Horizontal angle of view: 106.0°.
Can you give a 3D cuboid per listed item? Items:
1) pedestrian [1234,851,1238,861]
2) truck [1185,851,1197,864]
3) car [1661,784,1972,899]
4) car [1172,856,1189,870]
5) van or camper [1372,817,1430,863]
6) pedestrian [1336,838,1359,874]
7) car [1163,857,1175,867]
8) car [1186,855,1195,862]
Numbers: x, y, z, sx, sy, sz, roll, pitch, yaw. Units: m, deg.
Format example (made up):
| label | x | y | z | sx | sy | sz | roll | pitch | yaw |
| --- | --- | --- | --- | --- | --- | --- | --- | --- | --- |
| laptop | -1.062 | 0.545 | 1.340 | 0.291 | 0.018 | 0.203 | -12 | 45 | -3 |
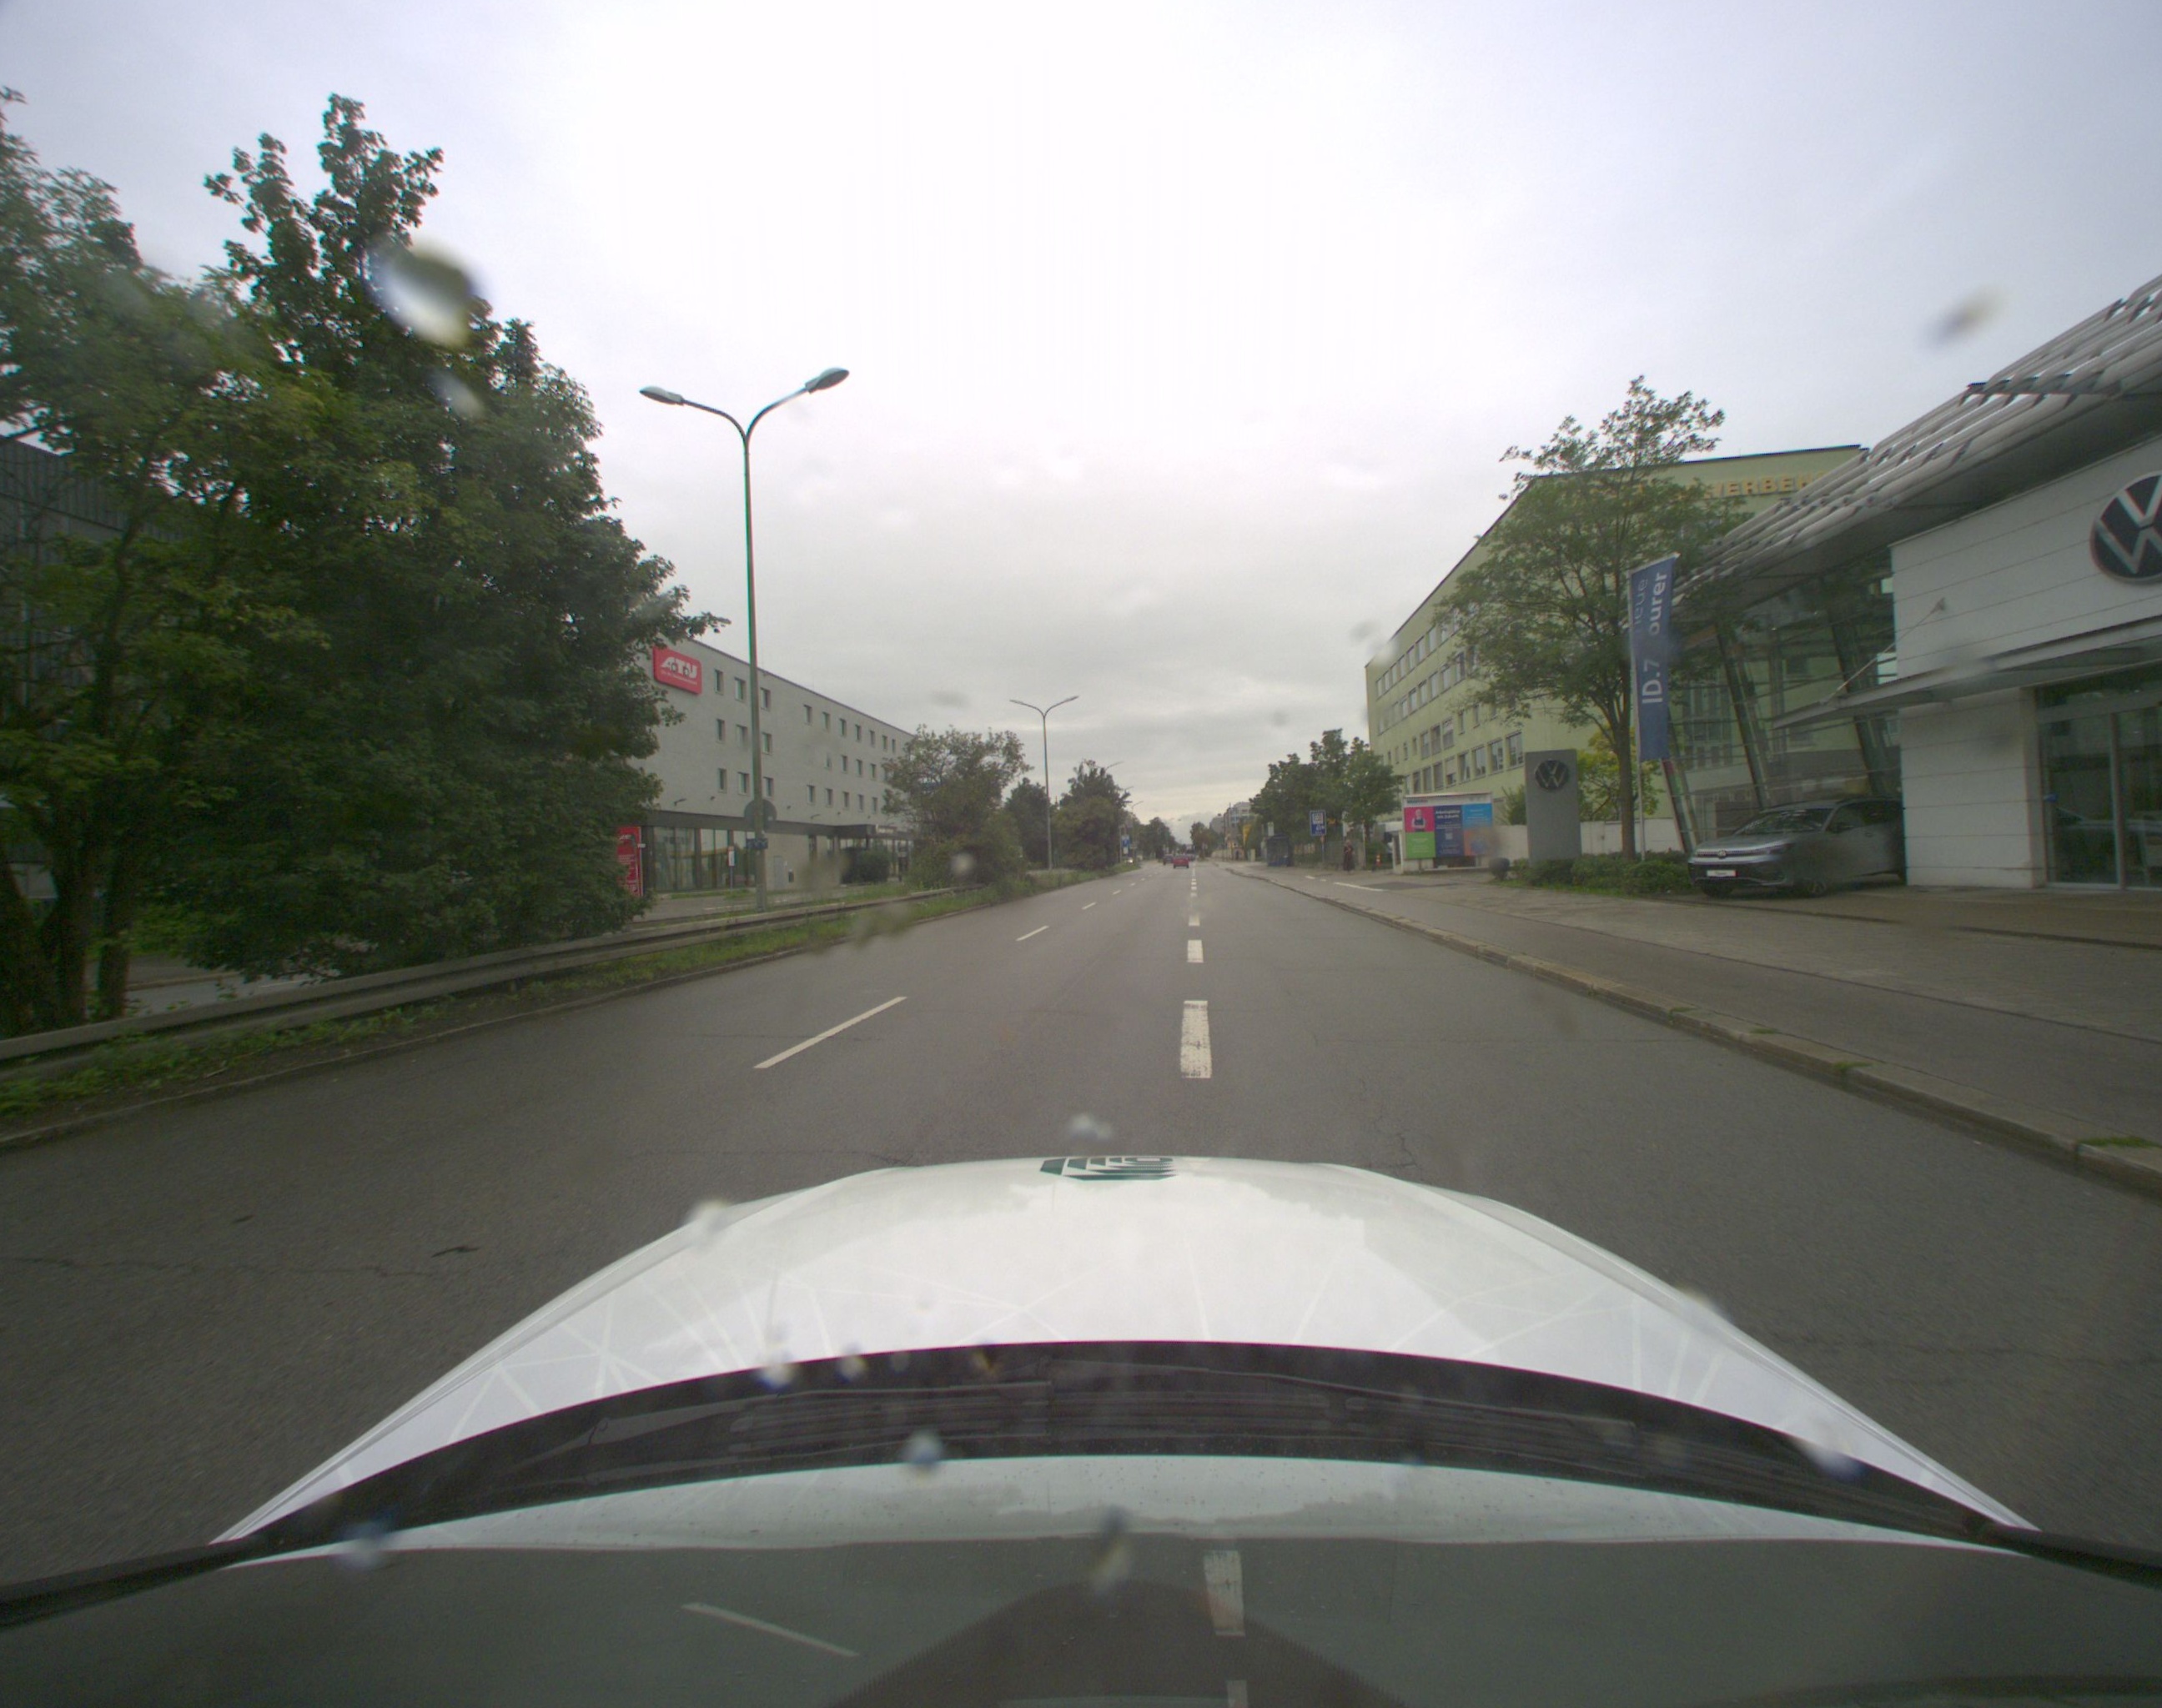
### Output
| label | x | y | z | sx | sy | sz | roll | pitch | yaw |
| --- | --- | --- | --- | --- | --- | --- | --- | --- | --- |
| pedestrian | 24.559 | 0.347 | 129.202 | 0.481 | 1.636 | 0.592 | -3 | -1 | 8 |
| truck | 30.186 | 1.041 | 224.453 | 2.954 | 3.285 | 7.929 | -3 | -1 | 6 |
| car | 13.657 | -0.214 | 15.218 | 4.595 | 1.706 | 1.998 | -4 | -2 | -14 |
| car | 11.675 | 1.048 | 96.042 | 1.853 | 1.618 | 4.006 | -2 | -1 | 5 |
| van or camper | 19.222 | -0.811 | 49.321 | 2.110 | 2.497 | 7.415 | -3 | 0 | 13 |
| pedestrian | 13.441 | 0.119 | 41.058 | 0.754 | 1.728 | 0.897 | -6 | -1 | 5 |
| car | 13.980 | 1.216 | 129.706 | 1.794 | 1.432 | 4.007 | -3 | -1 | 6 |
| car | 24.130 | 1.080 | 179.505 | 1.794 | 1.433 | 4.007 | -2 | -1 | 6 |
